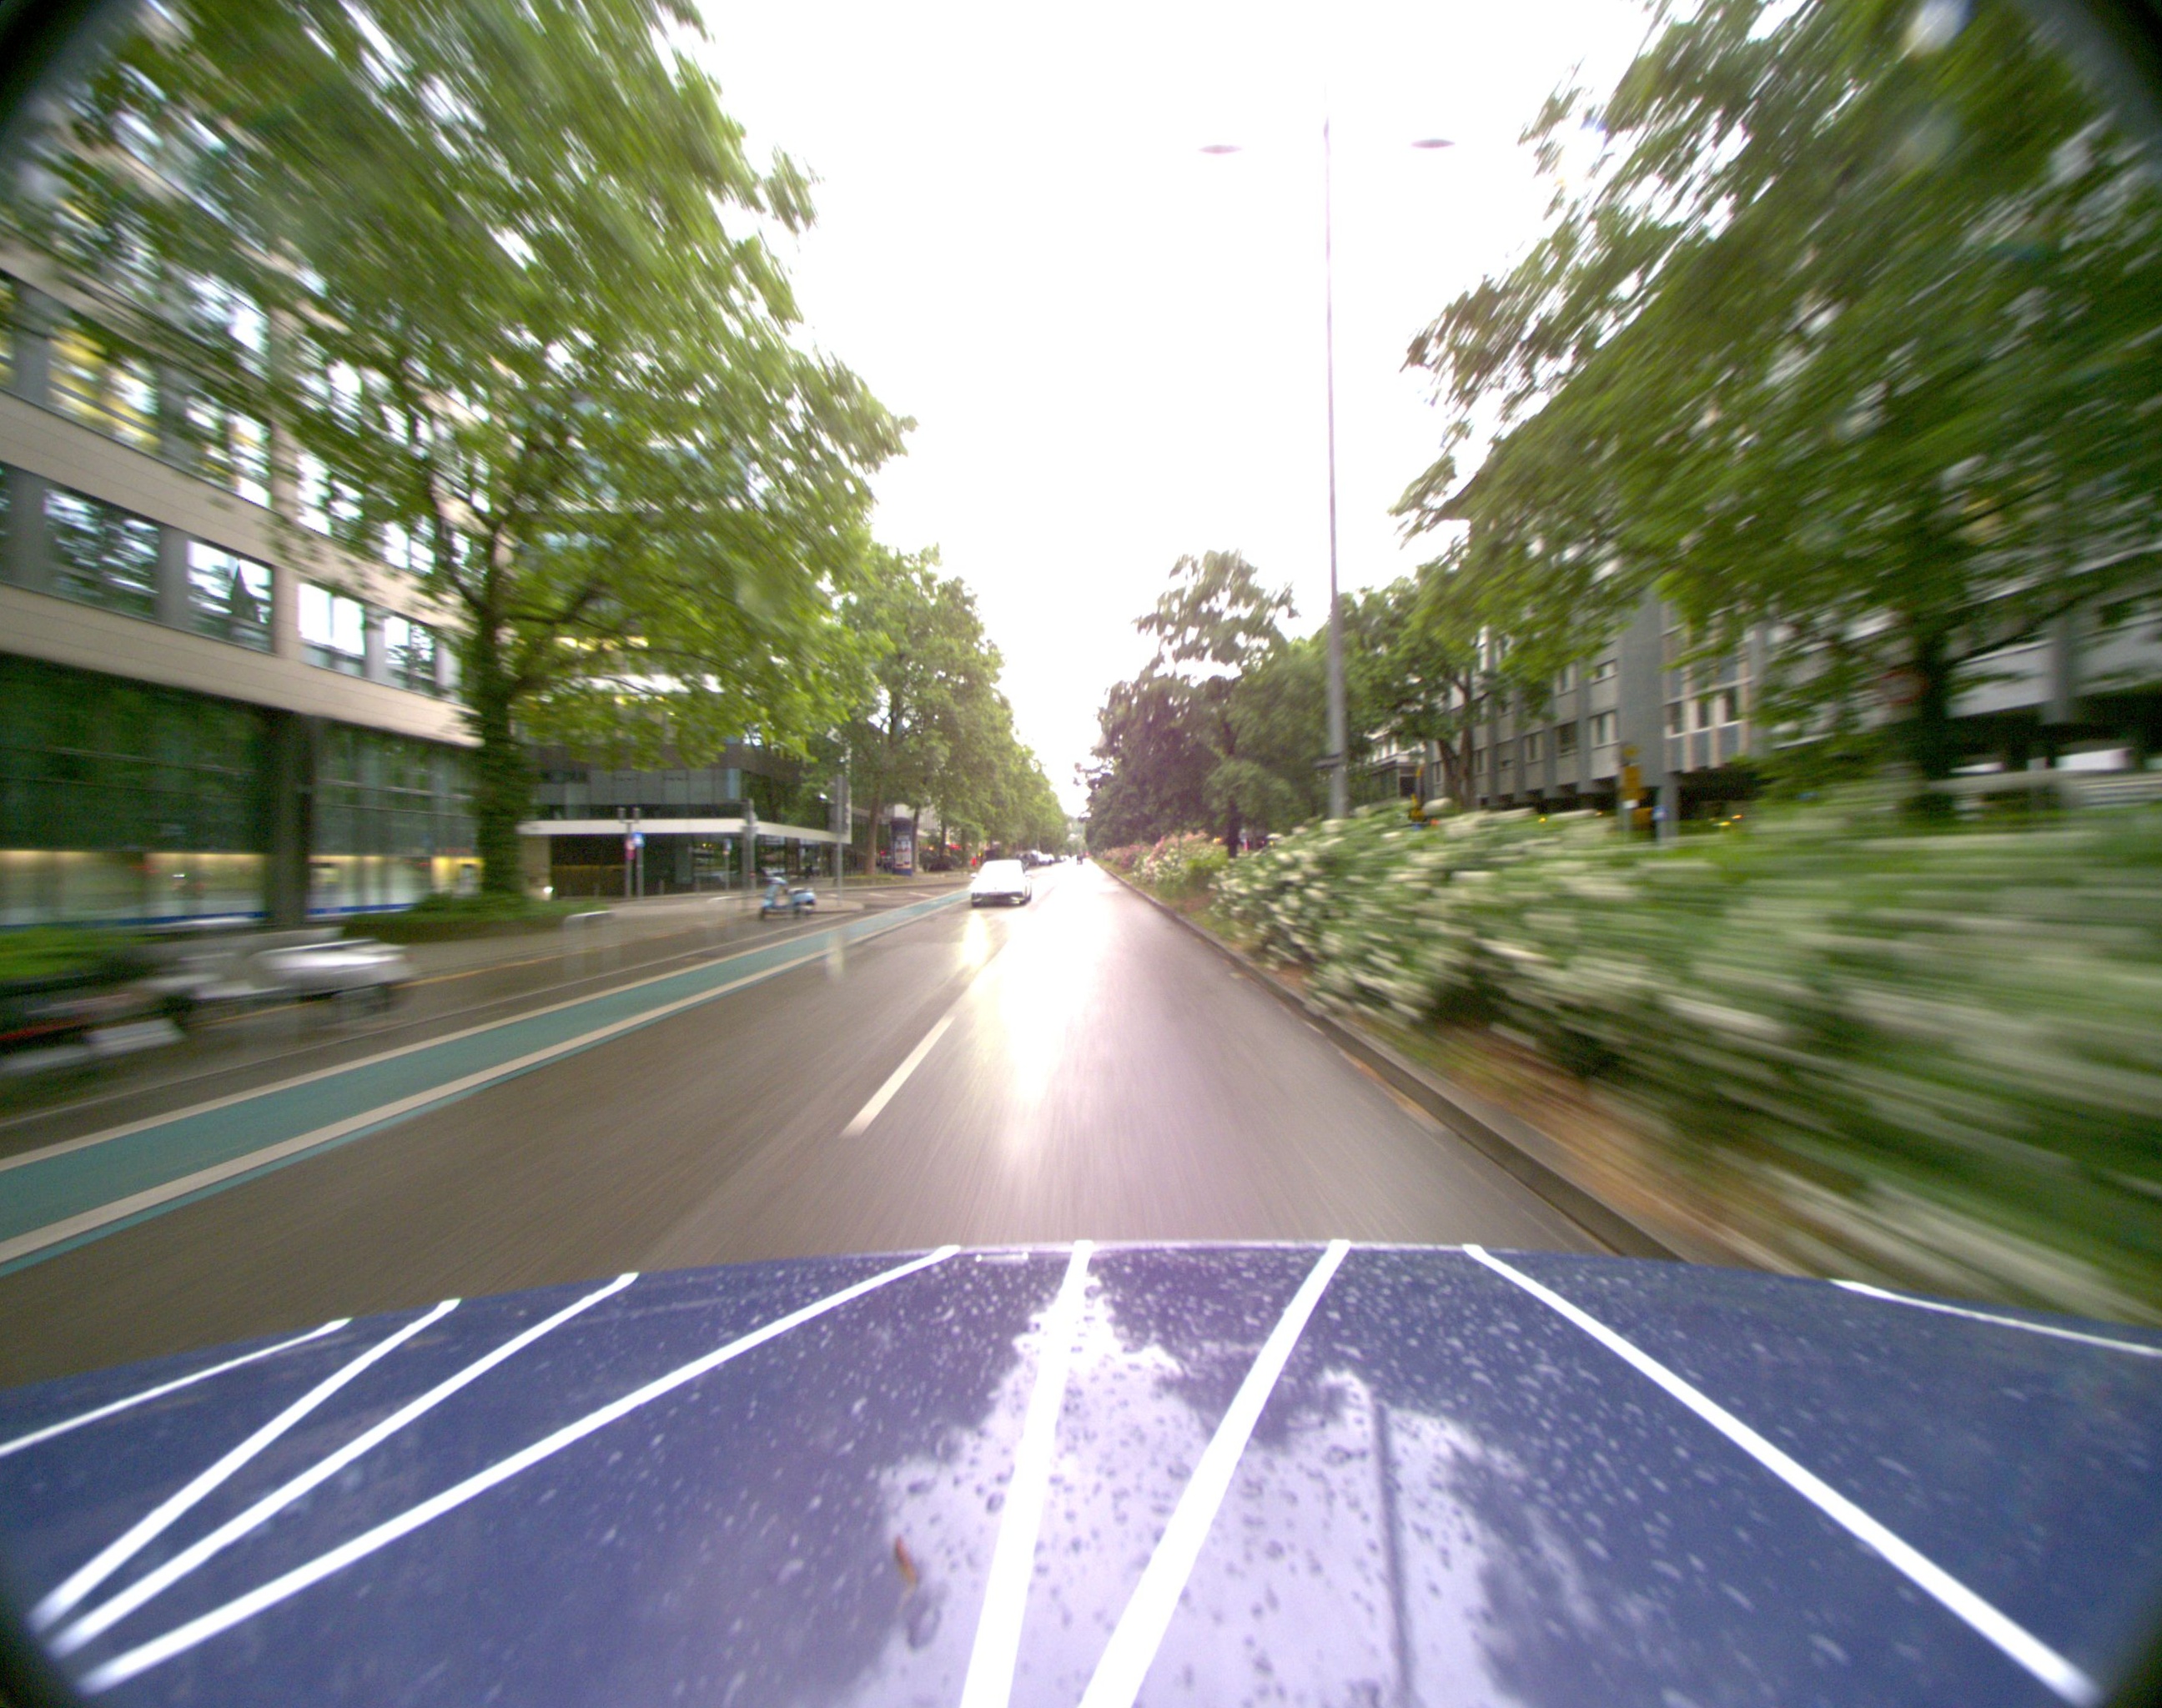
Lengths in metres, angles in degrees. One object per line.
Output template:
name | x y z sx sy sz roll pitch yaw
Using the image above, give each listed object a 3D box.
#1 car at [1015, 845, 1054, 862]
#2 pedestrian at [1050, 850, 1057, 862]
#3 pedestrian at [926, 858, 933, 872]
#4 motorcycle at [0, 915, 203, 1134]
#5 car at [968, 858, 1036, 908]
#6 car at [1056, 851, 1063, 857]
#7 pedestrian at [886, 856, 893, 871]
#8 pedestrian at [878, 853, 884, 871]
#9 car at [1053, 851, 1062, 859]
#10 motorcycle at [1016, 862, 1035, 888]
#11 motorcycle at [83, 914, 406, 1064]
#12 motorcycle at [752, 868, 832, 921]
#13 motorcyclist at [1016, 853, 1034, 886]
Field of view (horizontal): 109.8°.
car | -7.682 -0.037 125.697 6.267 2.665 2.326 -1 1 36
pedestrian | -4.386 0.281 119.535 0.893 1.839 0.786 -2 1 -14
pedestrian | -15.964 1.153 80.053 0.588 1.496 1.005 -1 0 1
motorcycle | -7.794 1.177 5.303 2.062 1.420 0.728 1 -1 -21
car | -2.620 0.929 25.908 1.795 1.463 3.793 -2 0 1
car | -5.402 0.046 191.311 1.598 1.517 3.425 -2 0 0
pedestrian | -20.019 0.979 79.391 0.527 1.616 0.719 1 2 0
pedestrian | -20.905 0.870 79.401 0.524 1.848 0.704 1 2 0
car | -4.574 0.145 149.658 1.598 1.517 3.425 -2 0 0
motorcycle | -2.746 1.028 37.674 0.744 1.194 2.235 -2 1 0
motorcycle | -8.169 1.262 7.589 2.064 1.206 0.683 1 1 -35
motorcycle | -7.990 1.102 21.072 0.683 1.359 1.950 3 2 41
motorcyclist | -2.761 0.748 37.600 0.744 1.575 1.059 -2 1 0
